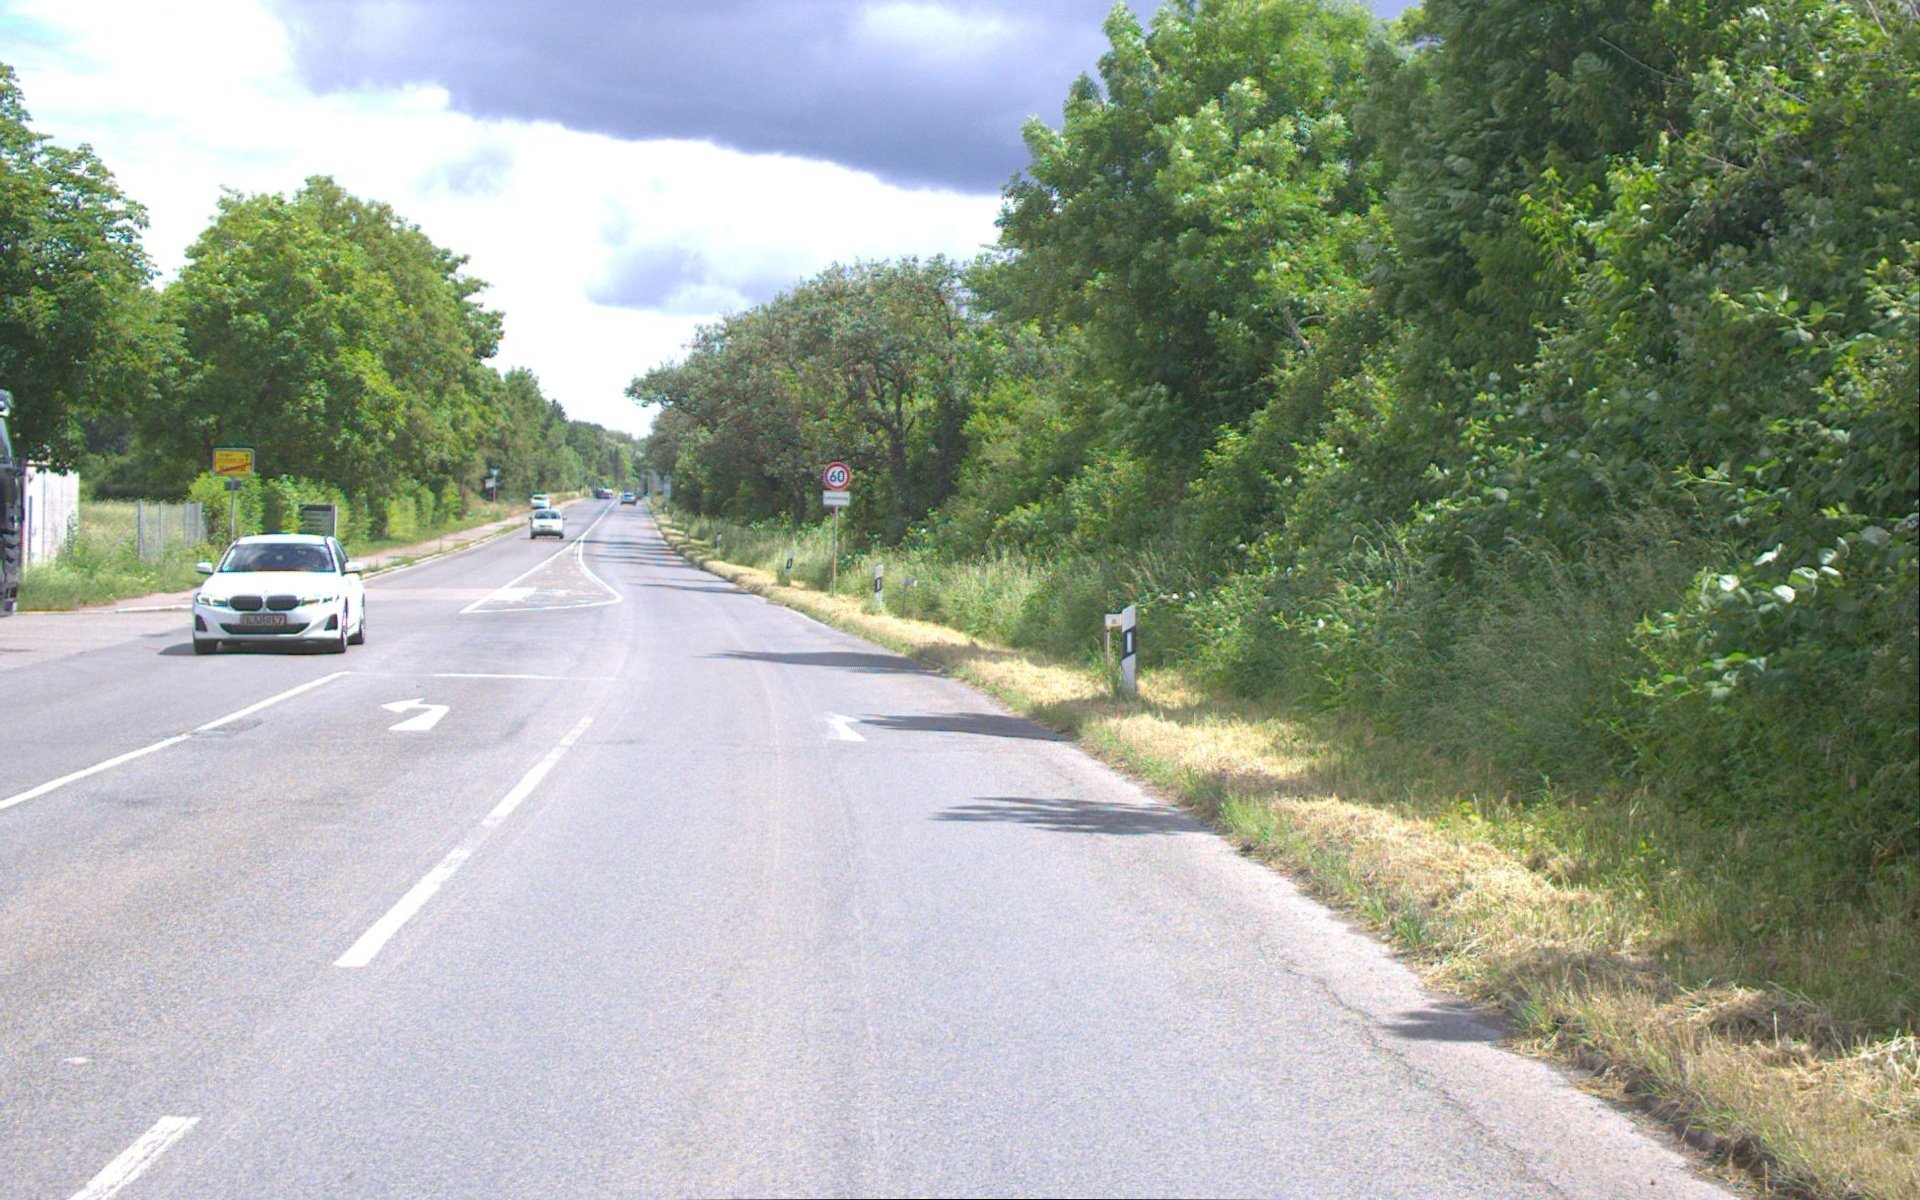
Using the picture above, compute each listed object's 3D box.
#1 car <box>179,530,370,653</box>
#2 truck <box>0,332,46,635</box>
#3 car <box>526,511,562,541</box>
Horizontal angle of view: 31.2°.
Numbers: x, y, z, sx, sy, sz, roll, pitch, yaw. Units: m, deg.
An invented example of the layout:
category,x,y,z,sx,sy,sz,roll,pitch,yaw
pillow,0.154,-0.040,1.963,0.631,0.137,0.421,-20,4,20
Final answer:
category,x,y,z,sx,sy,sz,roll,pitch,yaw
car,-8.512,-0.140,43.010,1.993,1.445,4.428,0,1,-7
truck,-14.823,-1.527,44.366,5.553,3.810,2.985,1,1,-10
car,-20.306,-3.629,167.911,1.660,1.427,3.693,0,2,-6
